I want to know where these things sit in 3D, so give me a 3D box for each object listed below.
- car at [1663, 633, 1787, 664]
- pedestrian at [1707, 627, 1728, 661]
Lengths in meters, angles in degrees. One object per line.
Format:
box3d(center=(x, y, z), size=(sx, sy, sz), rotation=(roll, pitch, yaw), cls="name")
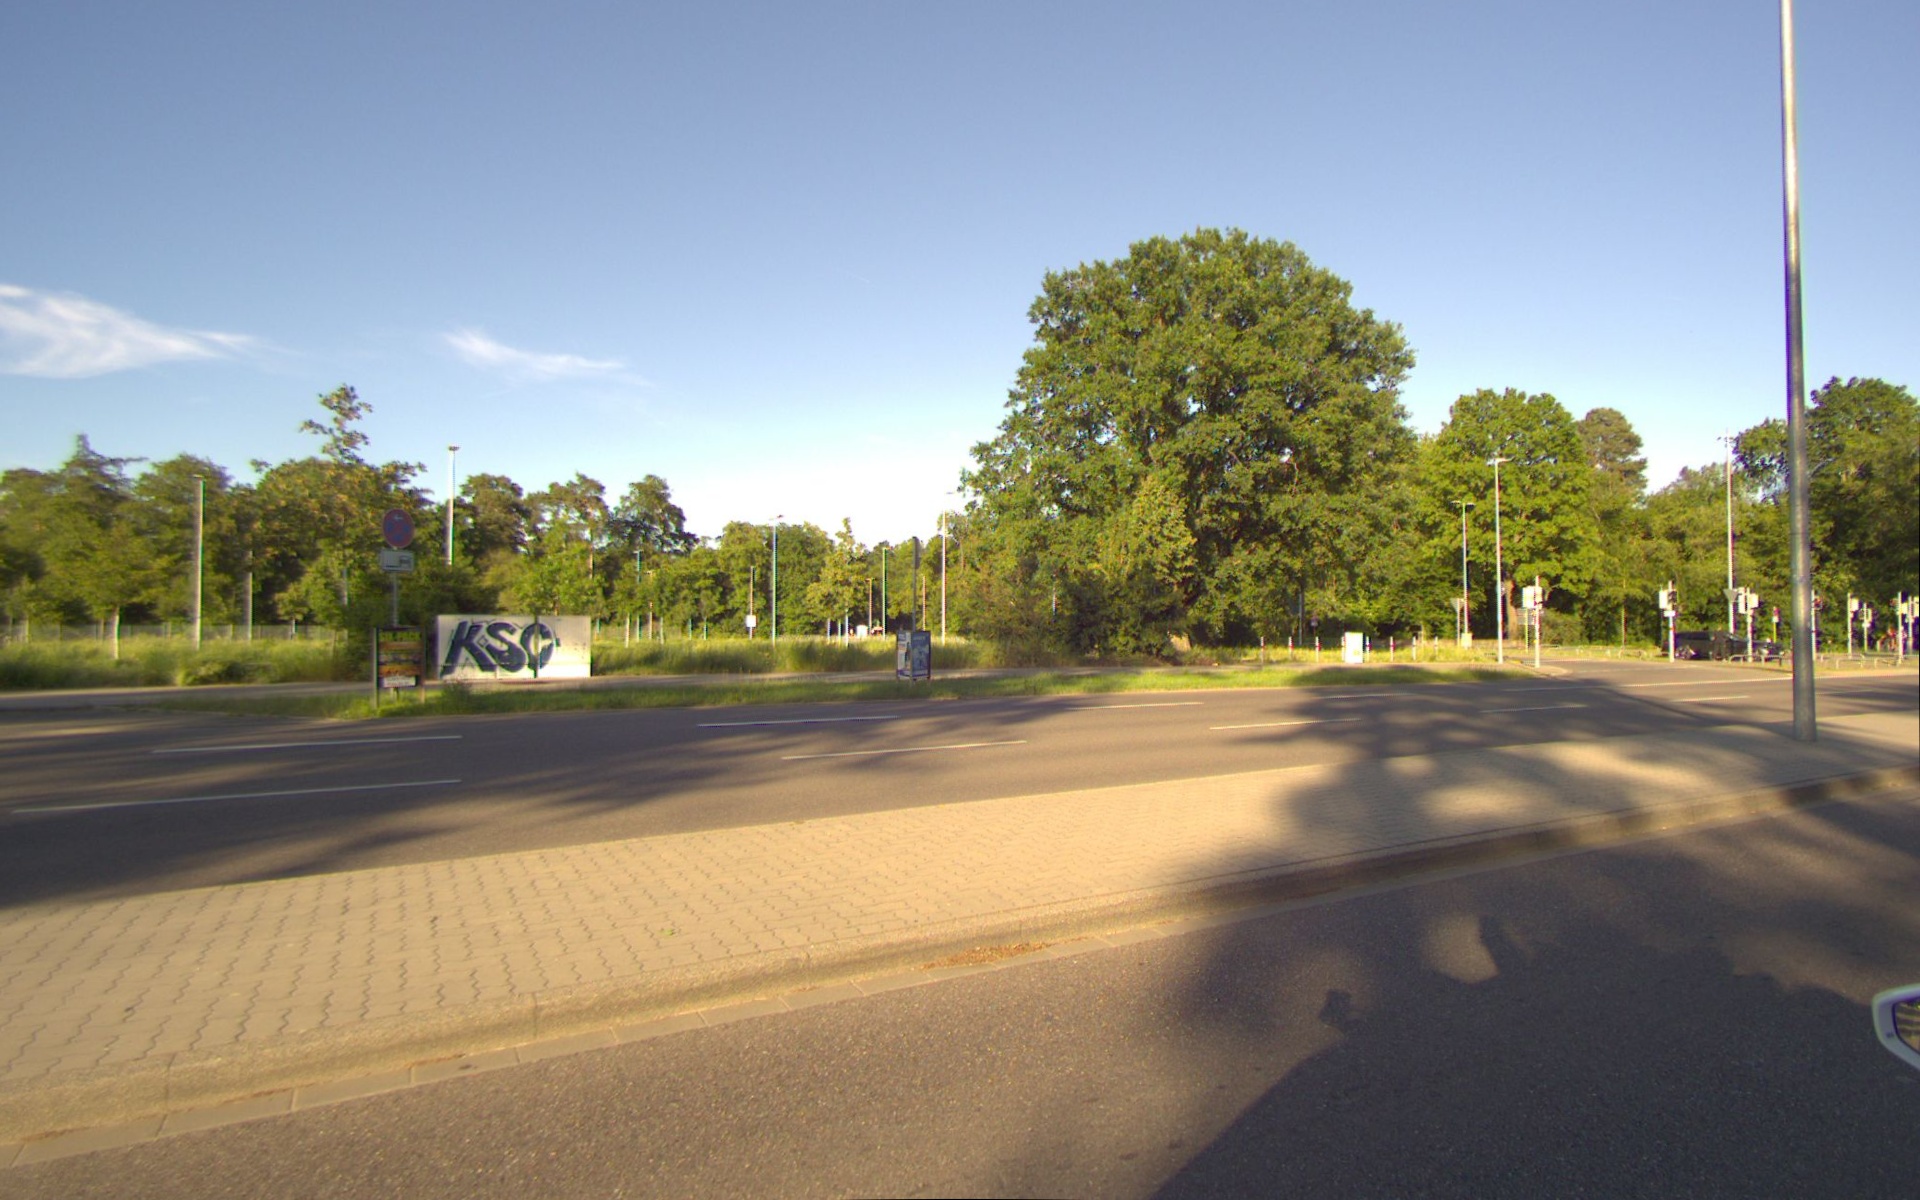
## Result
box3d(center=(38.854, 2.448, 51.080), size=(1.986, 1.517, 4.729), rotation=(2, -3, -43), cls="car")
box3d(center=(36.122, 2.102, 47.915), size=(0.636, 1.580, 0.539), rotation=(-1, -2, 19), cls="pedestrian")
